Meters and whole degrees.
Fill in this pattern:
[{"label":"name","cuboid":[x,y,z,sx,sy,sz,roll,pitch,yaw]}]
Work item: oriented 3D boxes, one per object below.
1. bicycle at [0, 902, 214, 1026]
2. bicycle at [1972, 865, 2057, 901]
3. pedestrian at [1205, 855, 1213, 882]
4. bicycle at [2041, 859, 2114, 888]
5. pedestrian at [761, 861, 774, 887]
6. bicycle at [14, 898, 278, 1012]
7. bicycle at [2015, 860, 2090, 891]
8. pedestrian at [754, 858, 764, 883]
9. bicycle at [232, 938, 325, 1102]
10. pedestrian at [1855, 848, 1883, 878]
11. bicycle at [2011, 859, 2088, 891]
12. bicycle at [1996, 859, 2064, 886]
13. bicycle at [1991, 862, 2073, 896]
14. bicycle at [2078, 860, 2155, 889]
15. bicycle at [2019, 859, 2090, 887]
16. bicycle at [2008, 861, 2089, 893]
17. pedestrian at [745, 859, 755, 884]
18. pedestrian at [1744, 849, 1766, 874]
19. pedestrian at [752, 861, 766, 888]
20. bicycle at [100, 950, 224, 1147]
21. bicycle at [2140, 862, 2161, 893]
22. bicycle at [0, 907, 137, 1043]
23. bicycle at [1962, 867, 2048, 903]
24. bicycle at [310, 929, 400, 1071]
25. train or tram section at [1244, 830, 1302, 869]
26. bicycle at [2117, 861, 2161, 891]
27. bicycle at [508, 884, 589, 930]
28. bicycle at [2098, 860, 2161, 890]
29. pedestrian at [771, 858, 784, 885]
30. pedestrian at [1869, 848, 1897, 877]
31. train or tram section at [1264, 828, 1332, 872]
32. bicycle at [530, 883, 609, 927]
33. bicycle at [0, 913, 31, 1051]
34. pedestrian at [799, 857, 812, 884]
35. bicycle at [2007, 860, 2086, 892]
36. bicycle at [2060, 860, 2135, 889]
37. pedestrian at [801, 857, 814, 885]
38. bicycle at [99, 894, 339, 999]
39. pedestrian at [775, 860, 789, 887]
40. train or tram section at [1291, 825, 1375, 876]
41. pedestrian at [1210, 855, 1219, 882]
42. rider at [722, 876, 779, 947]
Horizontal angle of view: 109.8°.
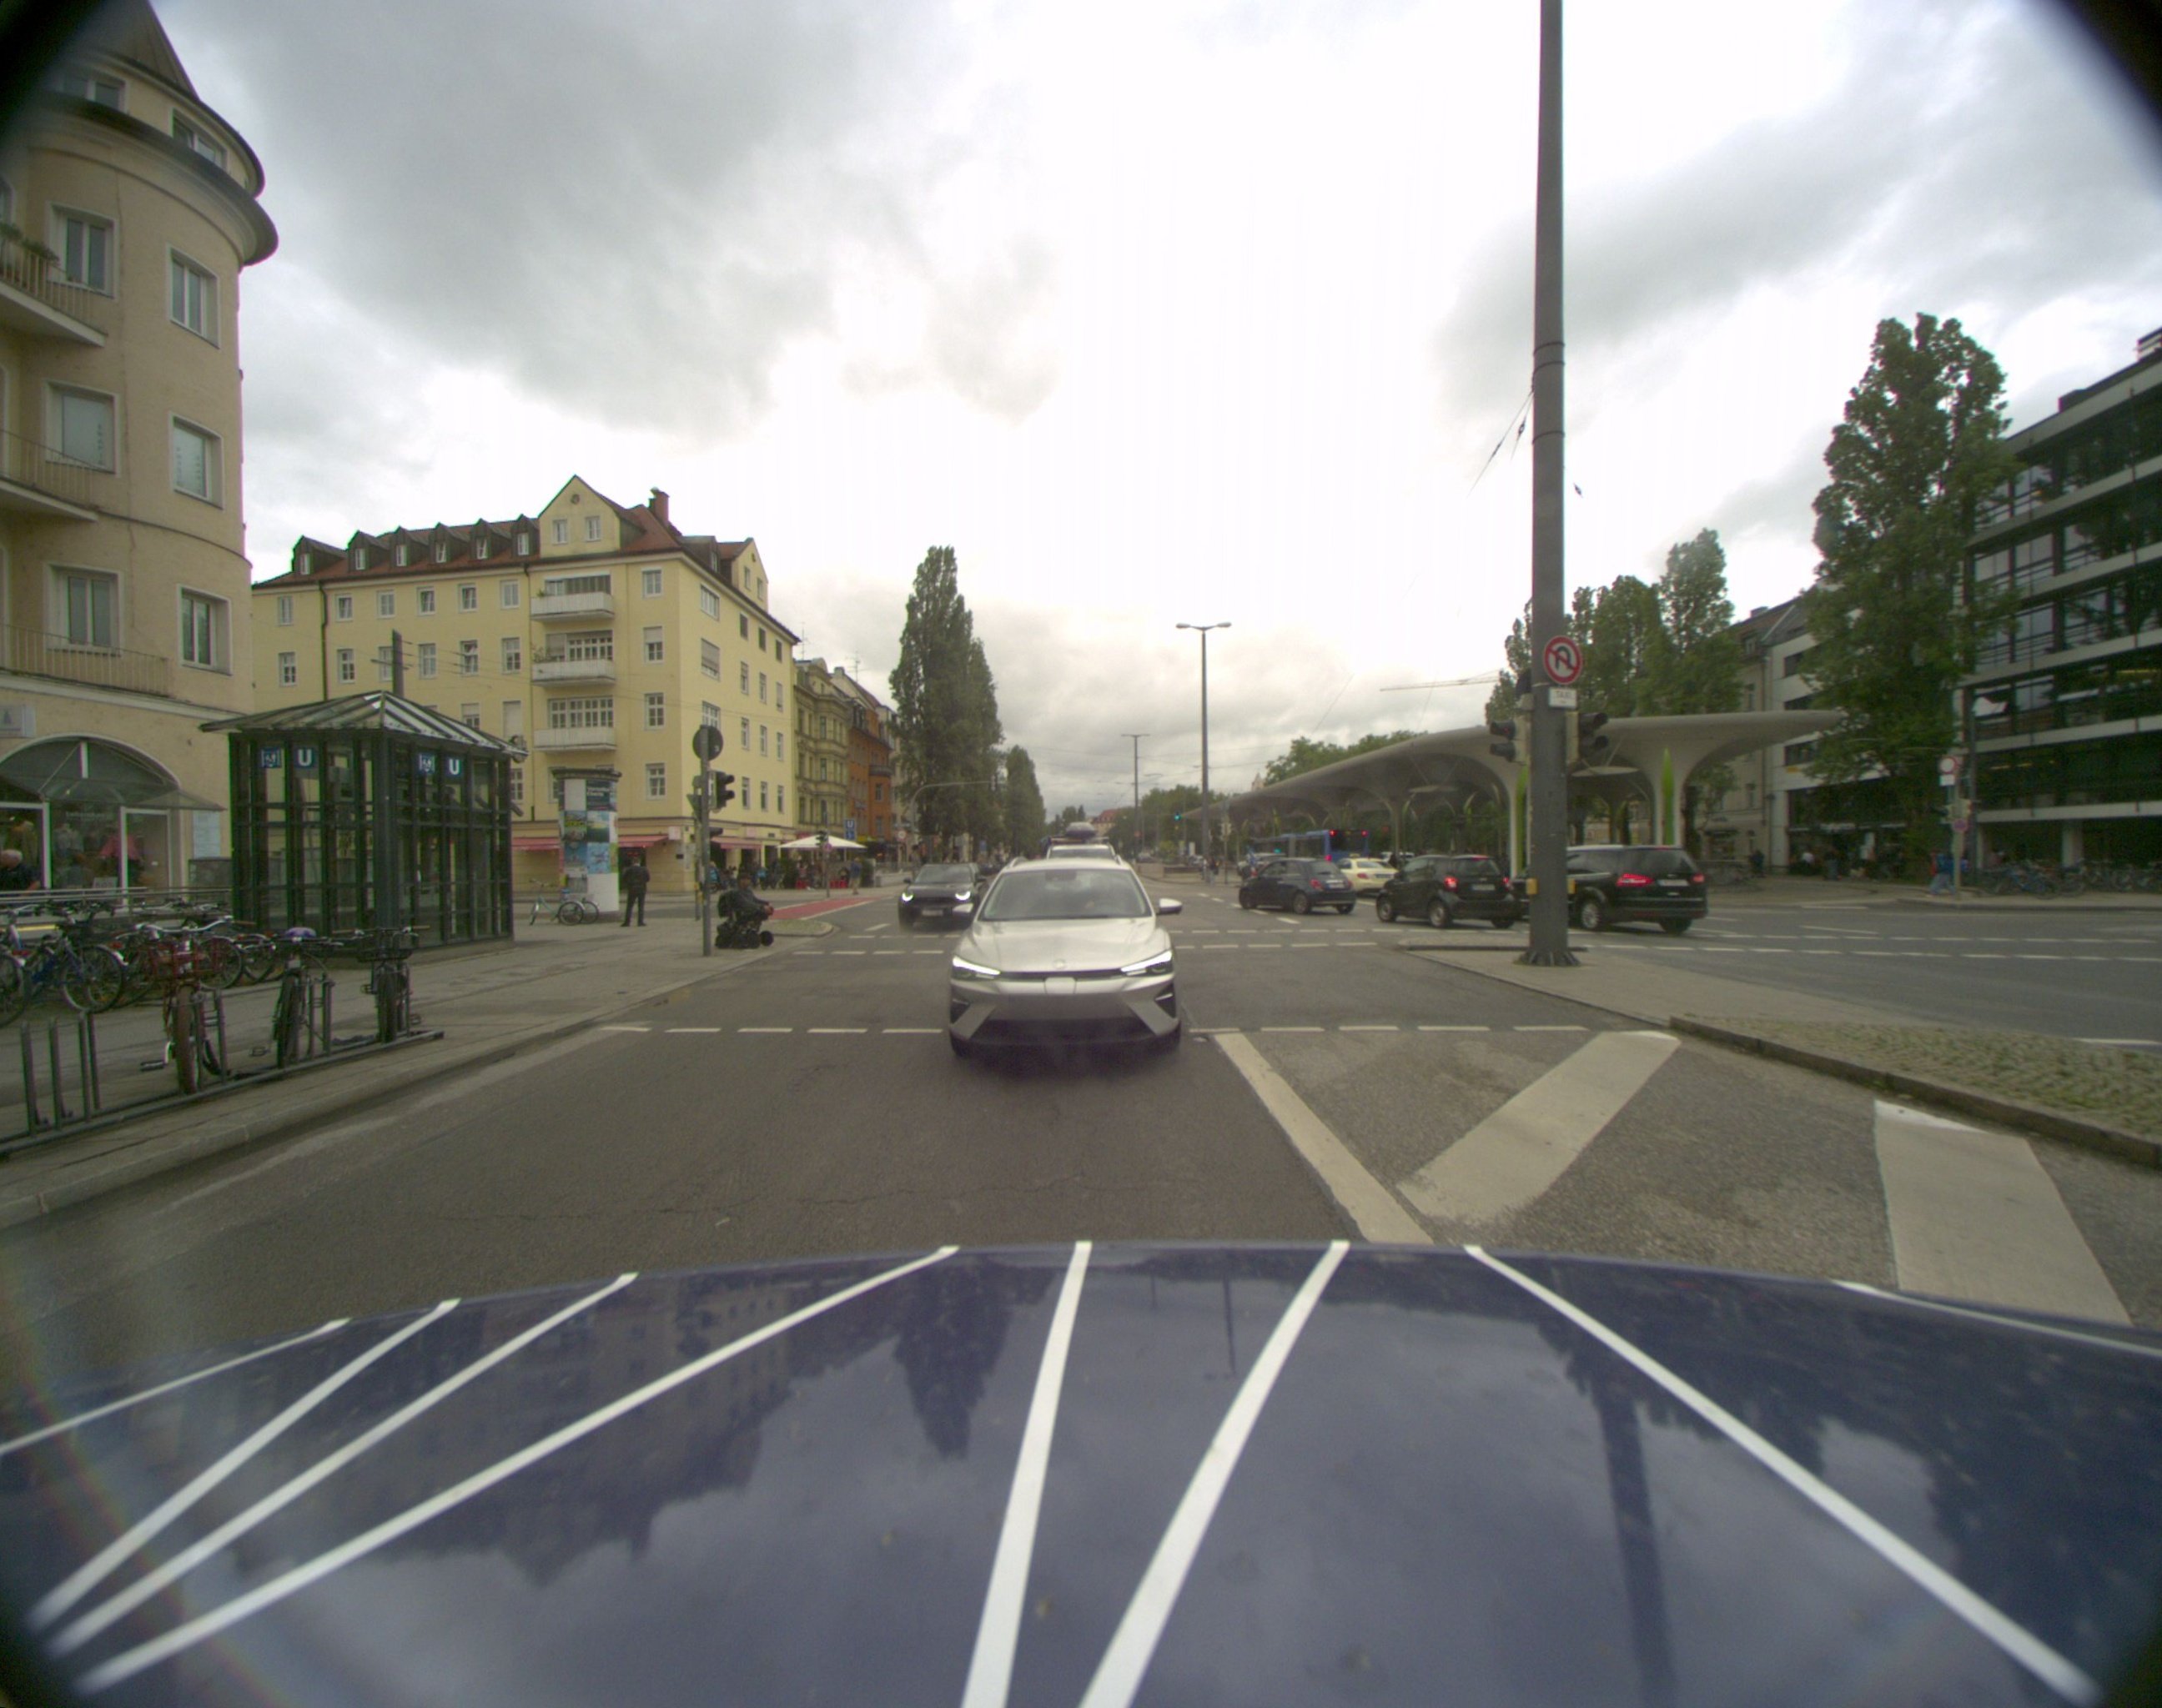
[{"label":"bicycle","cuboid":[-10.681,1.146,8.051,2.317,1.220,0.628,-1,0,2]},{"label":"bicycle","cuboid":[30.240,0.929,24.648,0.473,1.091,1.672,-1,0,-24]},{"label":"pedestrian","cuboid":[6.621,0.743,39.387,0.357,1.410,0.380,-1,1,-1]},{"label":"bicycle","cuboid":[40.859,0.800,31.163,2.073,1.127,0.561,-1,0,5]},{"label":"pedestrian","cuboid":[-18.113,1.148,43.908,0.528,1.517,0.585,-1,1,1]},{"label":"bicycle","cuboid":[-10.679,1.138,8.715,2.317,1.220,0.628,-1,0,2]},{"label":"bicycle","cuboid":[35.966,0.789,28.152,0.474,1.091,1.671,-1,0,-34]},{"label":"pedestrian","cuboid":[-19.942,1.029,47.020,0.529,1.517,0.584,-1,1,-19]},{"label":"bicycle","cuboid":[-6.242,1.205,5.900,1.848,1.053,0.398,-5,-1,42]},{"label":"pedestrian","cuboid":[45.642,0.532,44.039,0.800,1.714,0.827,0,0,11]},{"label":"bicycle","cuboid":[34.919,0.744,27.419,0.474,1.091,1.671,-1,0,-34]},{"label":"bicycle","cuboid":[40.879,0.781,32.741,2.073,1.127,0.561,-1,0,5]},{"label":"bicycle","cuboid":[32.299,0.836,25.831,0.473,1.091,1.672,-1,0,-24]},{"label":"bicycle","cuboid":[40.781,0.817,29.931,2.073,1.127,0.561,-1,0,5]},{"label":"bicycle","cuboid":[40.870,0.791,31.900,2.073,1.127,0.561,-1,0,5]},{"label":"bicycle","cuboid":[33.592,0.780,26.413,0.473,1.091,1.672,-1,0,-24]},{"label":"pedestrian","cuboid":[-20.459,1.050,46.935,0.529,1.517,0.584,-1,1,-19]},{"label":"pedestrian","cuboid":[45.019,0.490,50.785,0.834,1.689,0.906,0,1,22]},{"label":"pedestrian","cuboid":[-18.620,1.168,43.892,0.528,1.517,0.585,-1,1,1]},{"label":"bicycle","cuboid":[-6.145,1.215,5.131,1.848,1.053,0.398,-5,-1,42]},{"label":"bicycle","cuboid":[40.652,0.843,28.075,2.073,1.127,0.561,-1,0,5]},{"label":"bicycle","cuboid":[-10.736,1.155,7.418,2.317,1.220,0.628,-1,0,2]},{"label":"bicycle","cuboid":[29.513,0.961,24.292,0.473,1.091,1.672,-1,0,-24]},{"label":"bicycle","cuboid":[-6.353,1.201,6.619,1.848,1.053,0.398,-5,-1,42]},{"label":"train or tram section","cuboid":[15.716,-0.375,62.723,2.840,2.983,7.407,-1,0,0]},{"label":"bicycle","cuboid":[40.703,0.833,28.743,2.073,1.127,0.561,-1,0,5]},{"label":"bicycle","cuboid":[-13.489,1.335,19.266,1.822,1.121,0.610,-1,-1,12]},{"label":"bicycle","cuboid":[40.745,0.825,29.327,2.073,1.127,0.561,-1,0,5]},{"label":"pedestrian","cuboid":[-18.898,1.089,47.275,0.552,1.675,0.585,-1,1,1]},{"label":"pedestrian","cuboid":[46.609,0.493,44.167,0.800,1.714,0.827,0,0,11]},{"label":"train or tram section","cuboid":[15.716,-0.294,55.557,2.840,2.983,7.407,-1,0,0]},{"label":"bicycle","cuboid":[-13.399,1.324,19.915,1.822,1.121,0.610,-1,-1,12]},{"label":"bicycle","cuboid":[-10.870,1.168,6.738,2.317,1.220,0.628,-1,0,2]},{"label":"pedestrian","cuboid":[-16.938,1.023,46.732,0.552,1.675,0.585,-1,1,1]},{"label":"bicycle","cuboid":[34.127,0.754,26.889,0.473,1.091,1.672,-1,0,-24]},{"label":"bicycle","cuboid":[40.838,0.808,30.543,2.073,1.127,0.561,-1,0,5]},{"label":"pedestrian","cuboid":[-16.561,1.018,45.949,0.552,1.675,0.585,-1,1,1]},{"label":"bicycle","cuboid":[-10.662,1.129,9.433,2.317,1.220,0.628,-1,0,2]},{"label":"pedestrian","cuboid":[-17.660,1.145,44.918,0.552,1.529,0.668,-1,1,1]},{"label":"train or tram section","cuboid":[15.764,-0.217,48.169,2.840,2.983,7.407,-1,0,0]},{"label":"pedestrian","cuboid":[6.856,0.739,39.086,0.357,1.410,0.380,-1,1,-1]},{"label":"rider","cuboid":[-6.022,1.034,13.863,0.732,1.234,0.732,1,1,-3]}]
